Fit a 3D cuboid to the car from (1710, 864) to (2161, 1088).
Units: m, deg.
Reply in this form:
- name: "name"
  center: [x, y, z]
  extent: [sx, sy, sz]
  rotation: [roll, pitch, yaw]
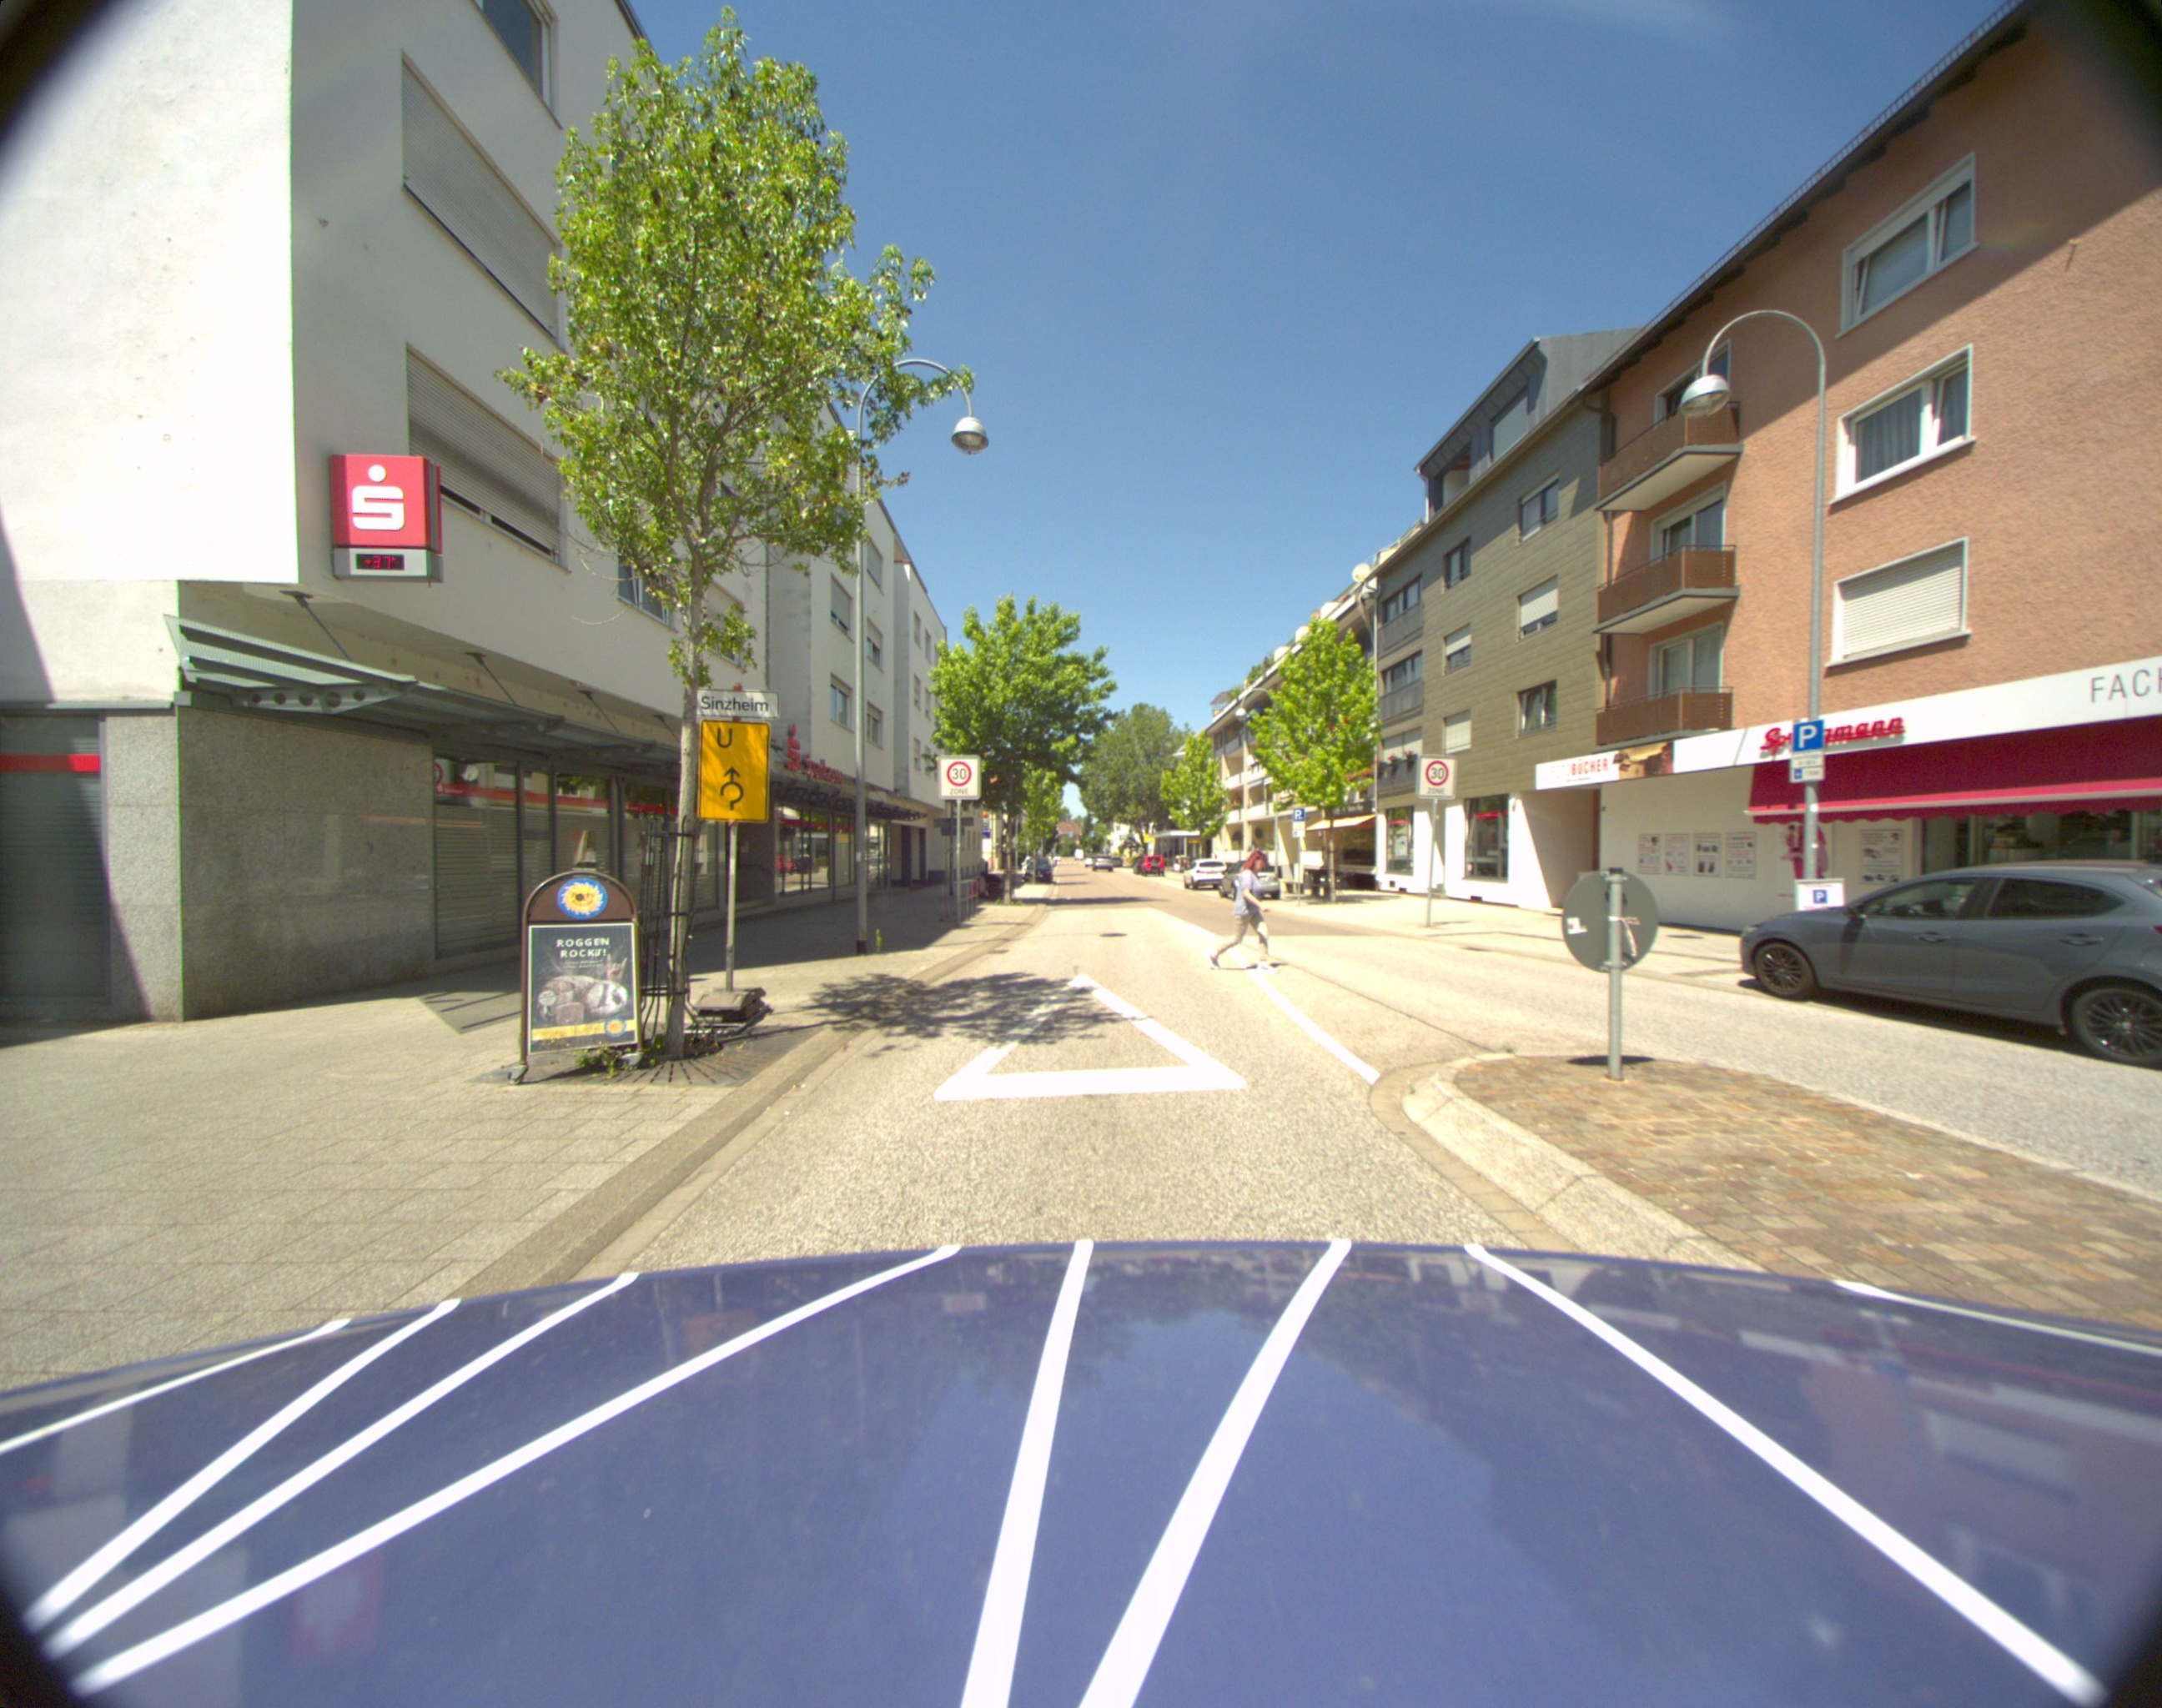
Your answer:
- name: "car"
  center: [8.406, 0.898, 6.975]
  extent: [1.672, 1.477, 4.059]
  rotation: [-3, 0, -4]

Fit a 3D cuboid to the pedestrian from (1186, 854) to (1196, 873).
- name: "pedestrian"
  center: [8.992, 0.769, 62.076]
  extent: [0.778, 1.490, 0.698]
  rotation: [0, 0, 10]

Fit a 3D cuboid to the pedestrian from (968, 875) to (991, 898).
- name: "pedestrian"
  center: [-3.842, 1.223, 28.762]
  extent: [0.678, 0.847, 0.538]
  rotation: [1, 1, 13]

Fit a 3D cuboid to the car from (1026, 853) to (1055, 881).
- name: "car"
  center: [-2.687, 0.799, 49.755]
  extent: [1.693, 1.712, 3.998]
  rotation: [2, 0, -4]

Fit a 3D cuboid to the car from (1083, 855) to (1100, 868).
- name: "car"
  center: [1.371, 1.002, 100.723]
  extent: [1.777, 1.623, 4.297]
  rotation: [0, 0, -6]

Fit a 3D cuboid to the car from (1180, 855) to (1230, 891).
- name: "car"
  center: [6.315, 0.938, 39.048]
  extent: [1.699, 1.583, 4.299]
  rotation: [-5, 0, -1]

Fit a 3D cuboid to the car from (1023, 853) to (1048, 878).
- name: "car"
  center: [-3.334, 0.792, 55.503]
  extent: [1.693, 1.712, 4.132]
  rotation: [0, 0, -4]

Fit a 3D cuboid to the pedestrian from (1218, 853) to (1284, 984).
- name: "pedestrian"
  center: [2.121, 0.787, 9.557]
  extent: [0.734, 1.600, 0.559]
  rotation: [0, 1, 5]

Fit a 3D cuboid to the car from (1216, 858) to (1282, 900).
- name: "car"
  center: [6.189, 0.881, 28.303]
  extent: [1.626, 1.465, 3.548]
  rotation: [0, 0, -1]

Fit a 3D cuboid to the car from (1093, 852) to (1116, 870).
- name: "car"
  center: [2.436, 0.704, 79.556]
  extent: [1.906, 1.744, 4.755]
  rotation: [1, 0, -4]

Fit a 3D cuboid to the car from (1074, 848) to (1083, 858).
- name: "car"
  center: [-0.587, -0.323, 192.769]
  extent: [2.232, 2.452, 5.248]
  rotation: [0, 0, -1]

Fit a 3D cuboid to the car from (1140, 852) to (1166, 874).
- name: "car"
  center: [5.885, 0.726, 62.413]
  extent: [1.645, 1.652, 3.370]
  rotation: [-2, 0, -1]

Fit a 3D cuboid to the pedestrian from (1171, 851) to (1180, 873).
- name: "pedestrian"
  center: [7.671, 0.635, 61.561]
  extent: [0.667, 1.794, 0.686]
  rotation: [0, 1, 14]

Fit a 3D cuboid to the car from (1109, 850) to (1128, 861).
- name: "car"
  center: [5.121, 0.199, 103.410]
  extent: [1.999, 1.412, 3.998]
  rotation: [0, 0, -5]

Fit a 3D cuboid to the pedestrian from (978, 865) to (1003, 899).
- name: "pedestrian"
  center: [-3.321, 1.026, 28.012]
  extent: [0.761, 1.233, 0.538]
  rotation: [1, 1, 13]
